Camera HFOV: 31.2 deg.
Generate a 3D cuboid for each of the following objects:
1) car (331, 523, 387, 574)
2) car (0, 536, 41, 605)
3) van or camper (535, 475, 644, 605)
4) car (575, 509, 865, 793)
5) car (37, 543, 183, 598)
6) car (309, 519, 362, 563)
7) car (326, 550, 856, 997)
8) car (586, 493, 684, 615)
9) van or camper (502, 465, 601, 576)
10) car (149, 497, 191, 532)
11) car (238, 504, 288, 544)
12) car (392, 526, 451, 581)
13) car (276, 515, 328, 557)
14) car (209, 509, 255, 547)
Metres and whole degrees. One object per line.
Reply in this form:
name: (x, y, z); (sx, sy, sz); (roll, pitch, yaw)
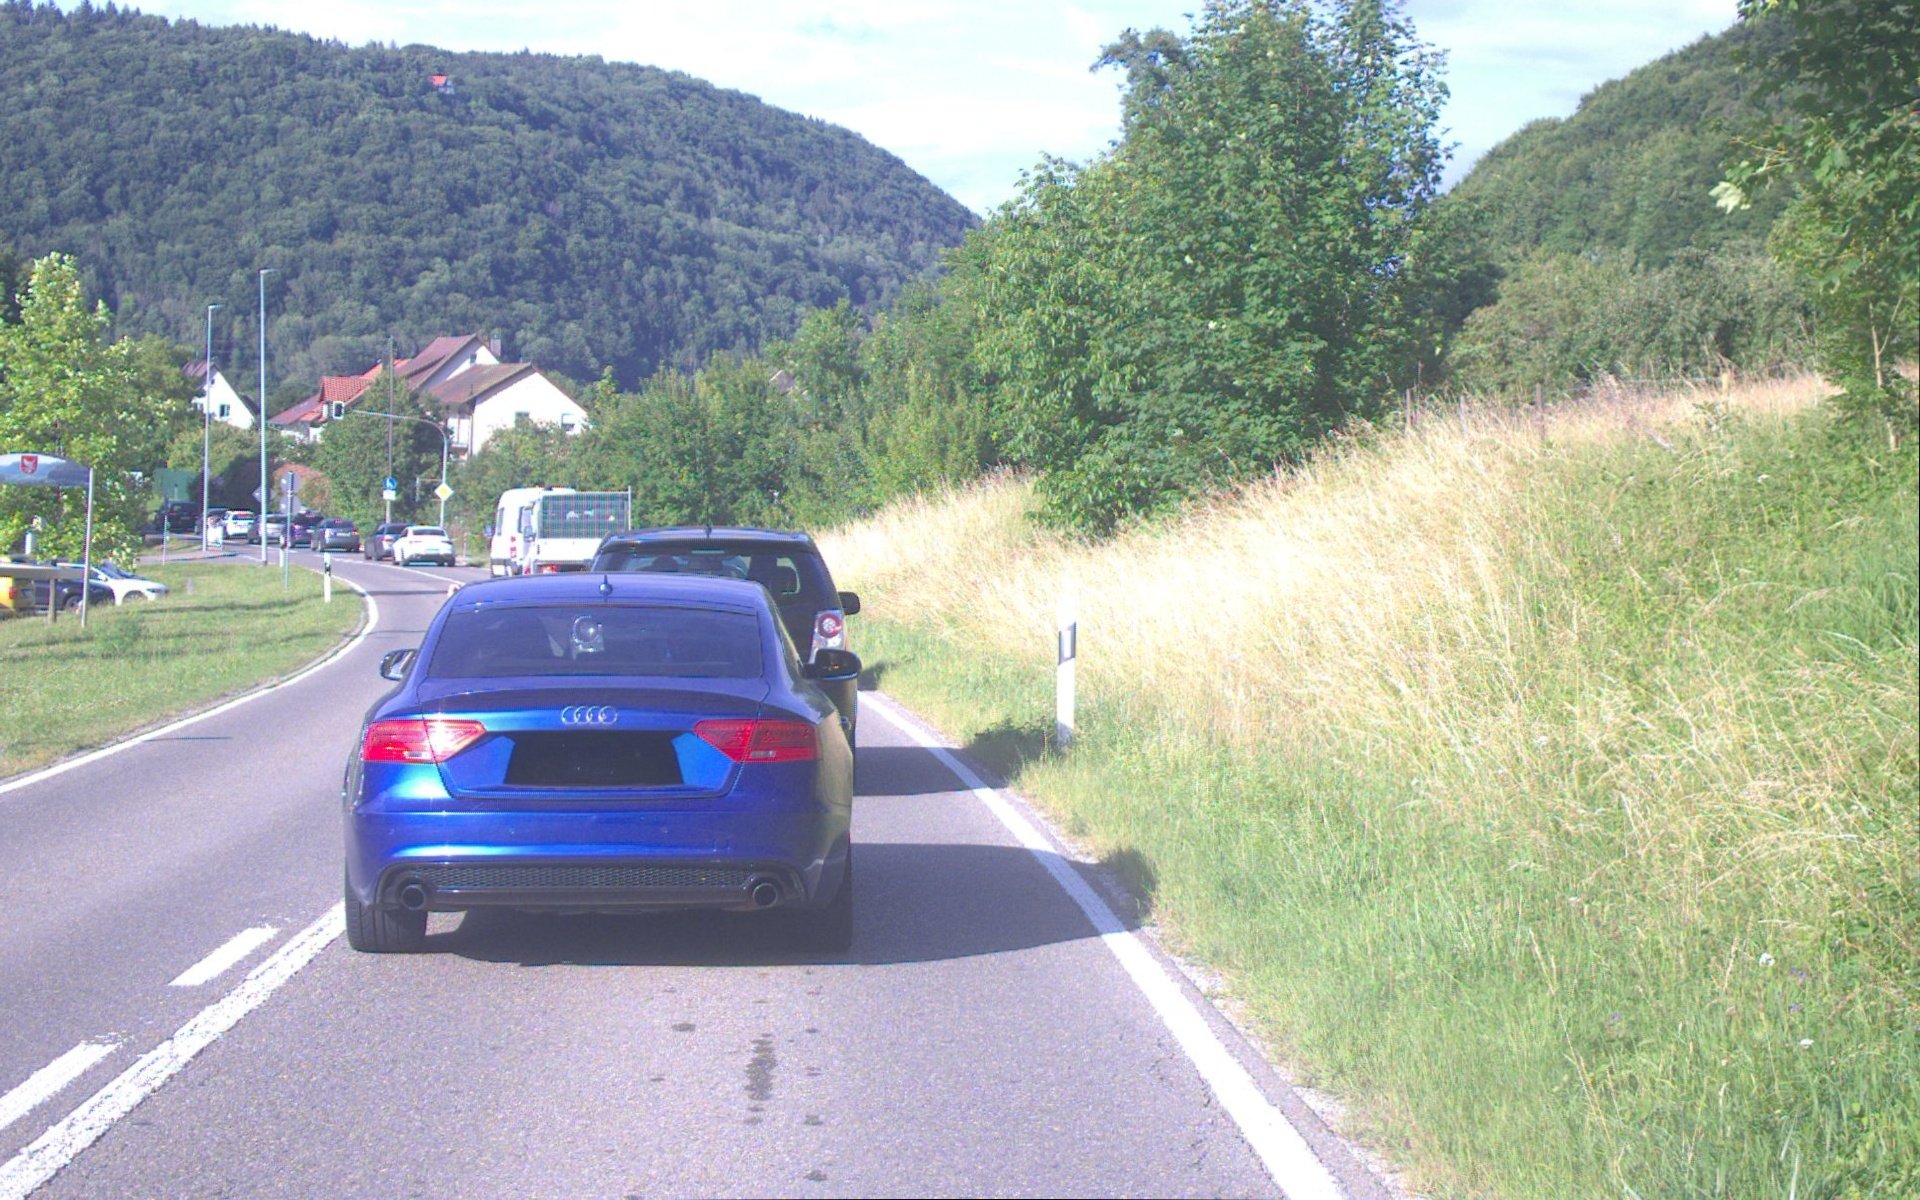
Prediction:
car: (-23.121, -1.991, 132.191); (1.659, 1.918, 4.001); (-1, 1, -16)
car: (-26.977, -0.764, 91.363); (4.553, 1.808, 1.841); (-1, 1, 3)
van or camper: (-7.567, -1.215, 69.788); (2.051, 2.497, 5.813); (-1, 1, -7)
car: (-1.528, 0.268, 21.765); (1.645, 1.619, 3.517); (1, 1, -4)
car: (-26.236, -0.922, 106.163); (4.036, 1.655, 1.655); (-1, 1, 3)
car: (-27.215, -2.566, 149.796); (1.659, 1.918, 4.001); (-1, 1, -19)
car: (-1.298, 0.552, 13.203); (1.742, 1.445, 3.517); (-1, 1, -2)
car: (-5.588, -0.804, 58.821); (1.567, 2.007, 4.001); (-1, 1, -6)
van or camper: (-10.422, -2.006, 87.300); (2.280, 2.704, 5.769); (-1, 1, -9)
car: (-44.609, -4.843, 194.105); (1.676, 1.918, 4.001); (-1, 1, -22)
car: (-34.265, -3.704, 168.958); (1.676, 1.918, 4.001); (-1, 1, -22)
car: (-19.058, -1.645, 121.494); (1.659, 1.918, 4.001); (-1, 1, -14)
car: (-30.550, -2.945, 159.522); (1.676, 1.918, 4.001); (-1, 1, -21)
car: (-37.702, -3.723, 178.002); (1.676, 1.918, 4.001); (-1, 1, -22)
